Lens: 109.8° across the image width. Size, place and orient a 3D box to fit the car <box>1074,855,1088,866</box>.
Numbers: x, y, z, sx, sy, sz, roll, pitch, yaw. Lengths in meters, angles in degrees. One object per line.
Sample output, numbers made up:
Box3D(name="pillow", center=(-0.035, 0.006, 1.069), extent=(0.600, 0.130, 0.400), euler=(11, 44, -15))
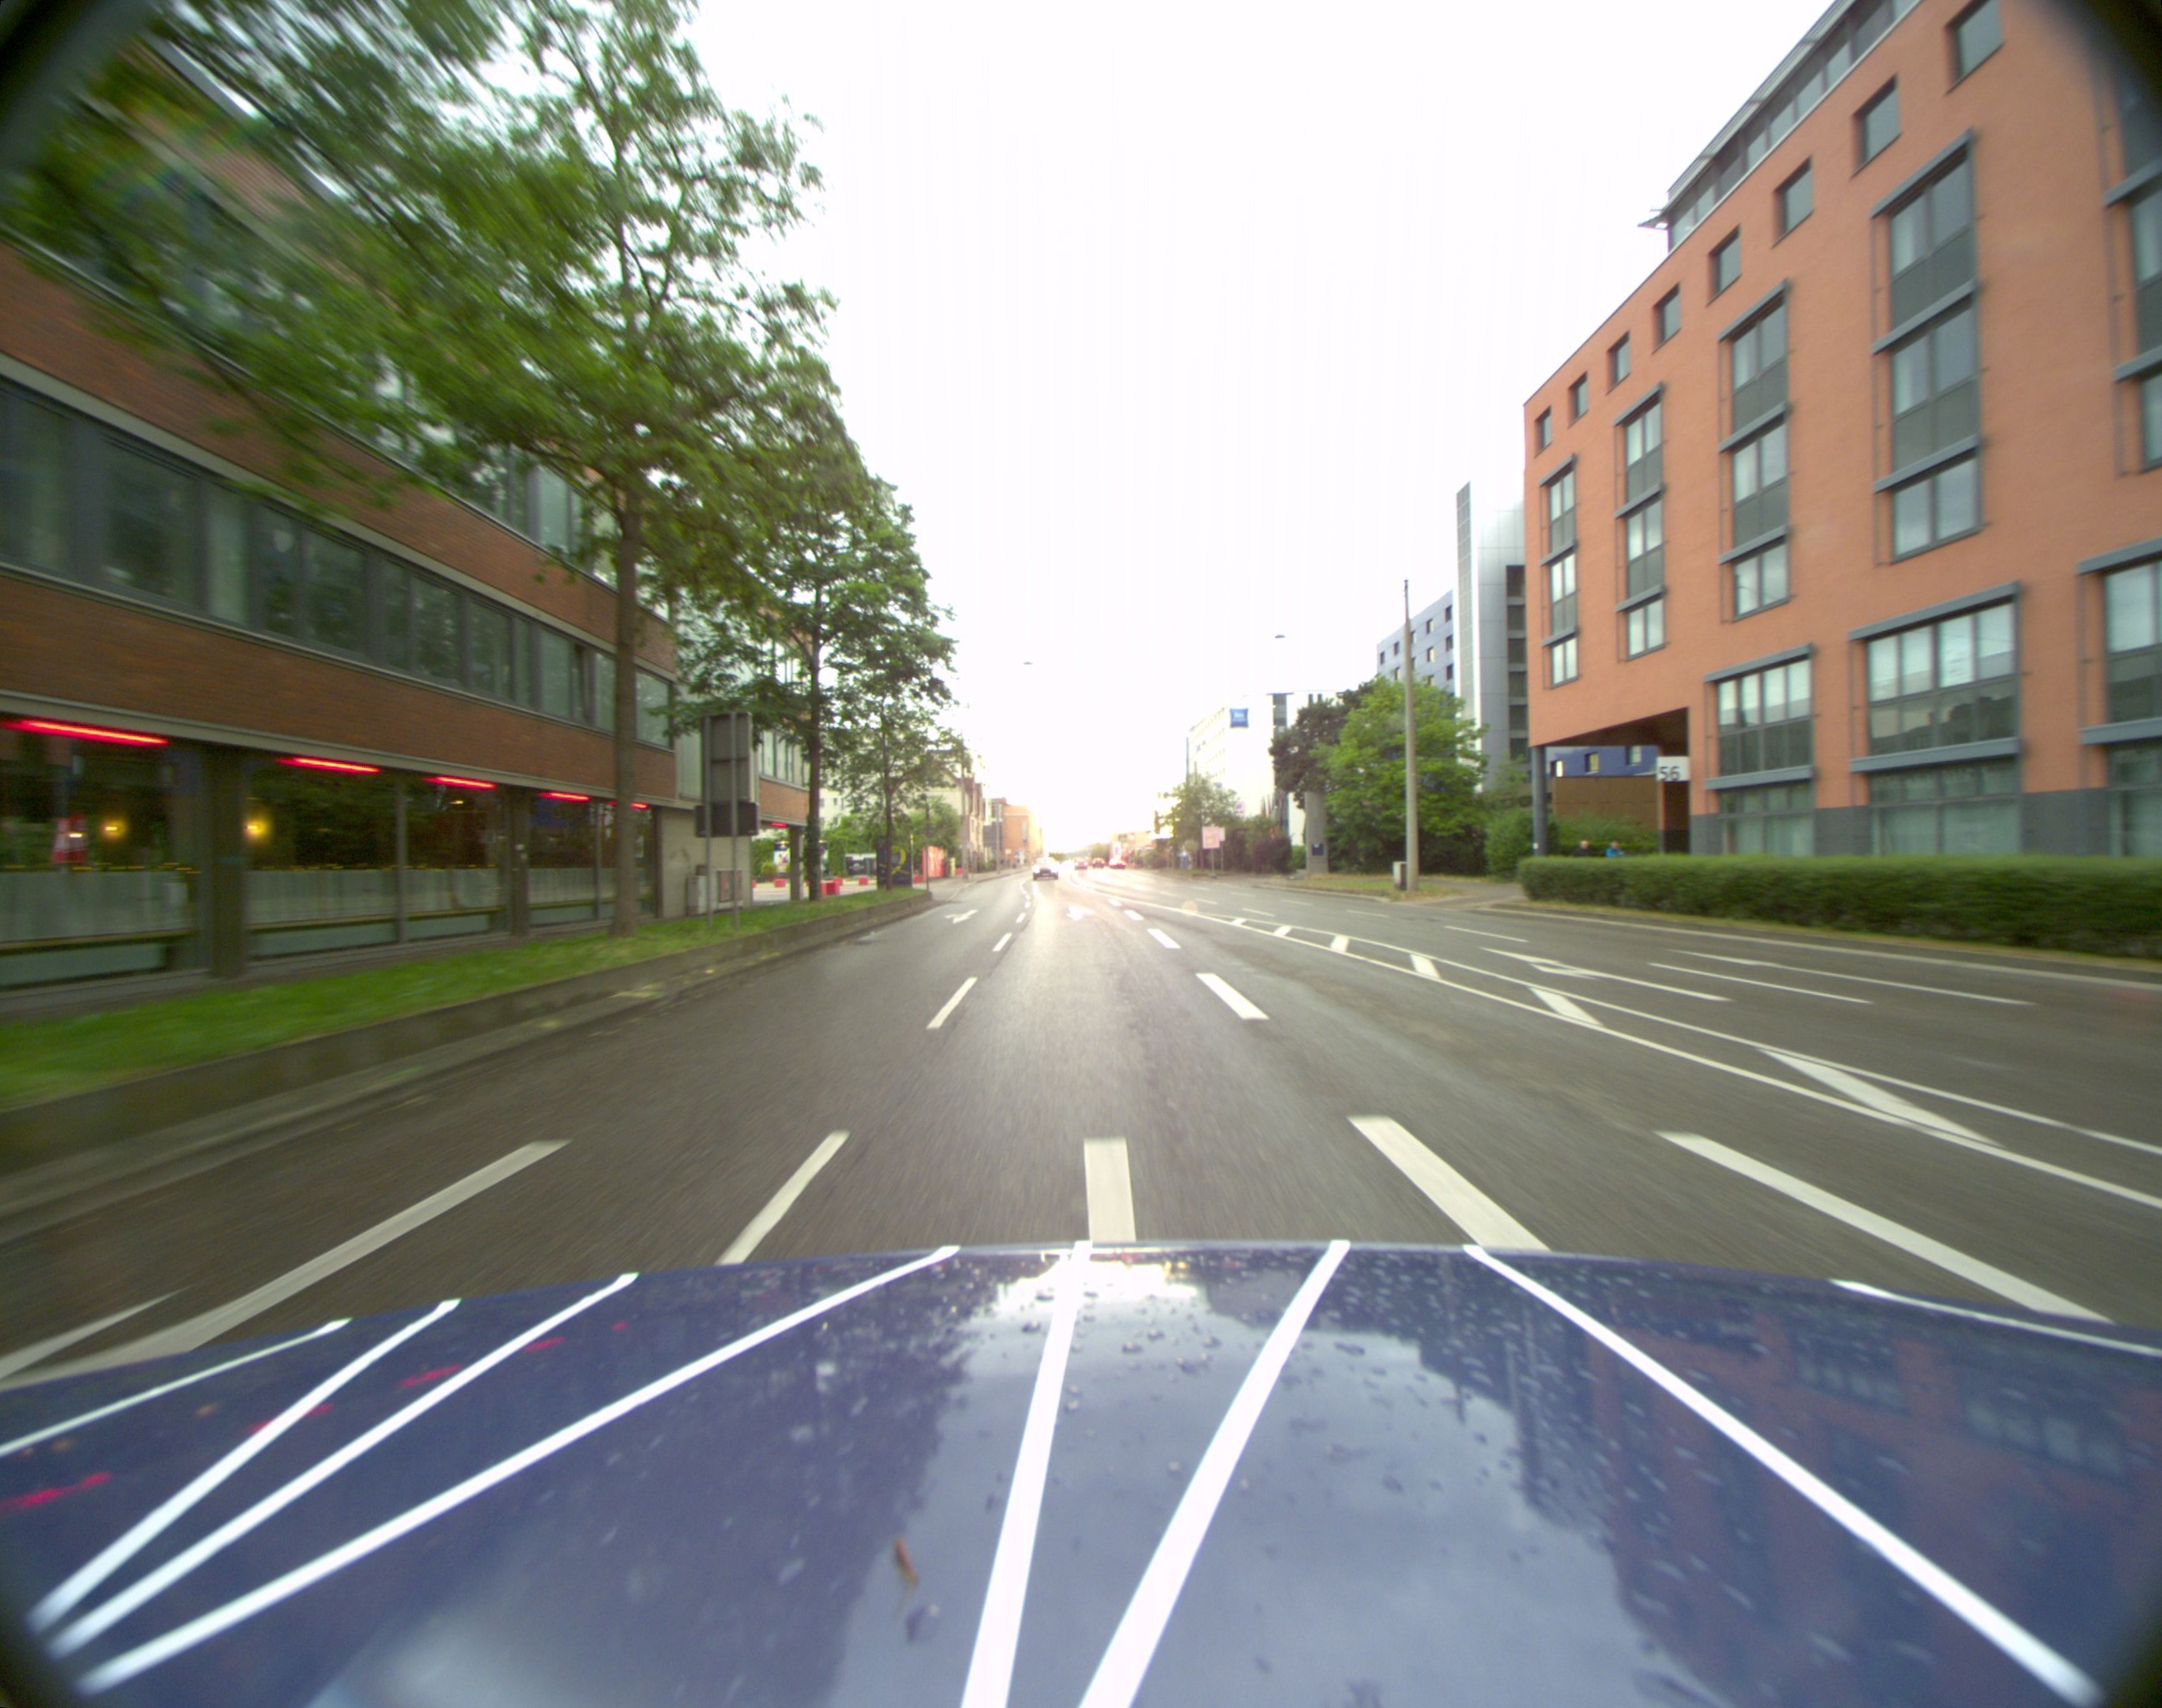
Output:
Box3D(name="car", center=(0.017, 0.945, 112.435), extent=(1.998, 1.543, 4.000), euler=(-1, 0, 0))

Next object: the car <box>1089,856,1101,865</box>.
Box3D(name="car", center=(2.460, 1.106, 133.117), extent=(1.998, 1.543, 4.000), euler=(-1, 0, 0))

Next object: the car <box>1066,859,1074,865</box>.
Box3D(name="car", center=(-2.744, 2.069, 190.281), extent=(1.799, 1.501, 4.000), euler=(0, -1, 0))

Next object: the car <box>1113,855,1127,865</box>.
Box3D(name="car", center=(6.297, 0.961, 122.951), extent=(1.767, 1.559, 3.999), euler=(1, 0, -3))

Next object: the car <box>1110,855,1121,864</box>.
Box3D(name="car", center=(6.353, 1.001, 140.744), extent=(1.767, 1.559, 3.999), euler=(1, 0, -2))

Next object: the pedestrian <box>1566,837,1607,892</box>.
Box3D(name="pedestrian", center=(17.245, 0.350, 25.925), extent=(0.747, 1.830, 0.885), euler=(-2, 1, -1))

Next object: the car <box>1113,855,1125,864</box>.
Box3D(name="car", center=(6.528, 0.897, 131.084), extent=(1.767, 1.559, 3.999), euler=(1, 0, -2))

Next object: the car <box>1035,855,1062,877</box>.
Box3D(name="car", center=(-2.639, 0.926, 61.075), extent=(1.999, 1.656, 5.423), euler=(-1, 0, -3))

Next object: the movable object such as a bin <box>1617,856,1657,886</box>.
Box3D(name="movable object such as a bin", center=(23.851, 0.718, 32.604), extent=(0.782, 1.241, 1.209), euler=(-1, 0, -4))

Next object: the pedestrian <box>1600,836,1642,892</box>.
Box3D(name="pedestrian", center=(18.319, 0.323, 25.786), extent=(0.747, 1.830, 0.885), euler=(-2, 1, -1))

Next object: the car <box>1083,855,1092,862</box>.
Box3D(name="car", center=(1.572, 1.108, 176.106), extent=(1.998, 1.543, 4.000), euler=(-1, 0, 0))
